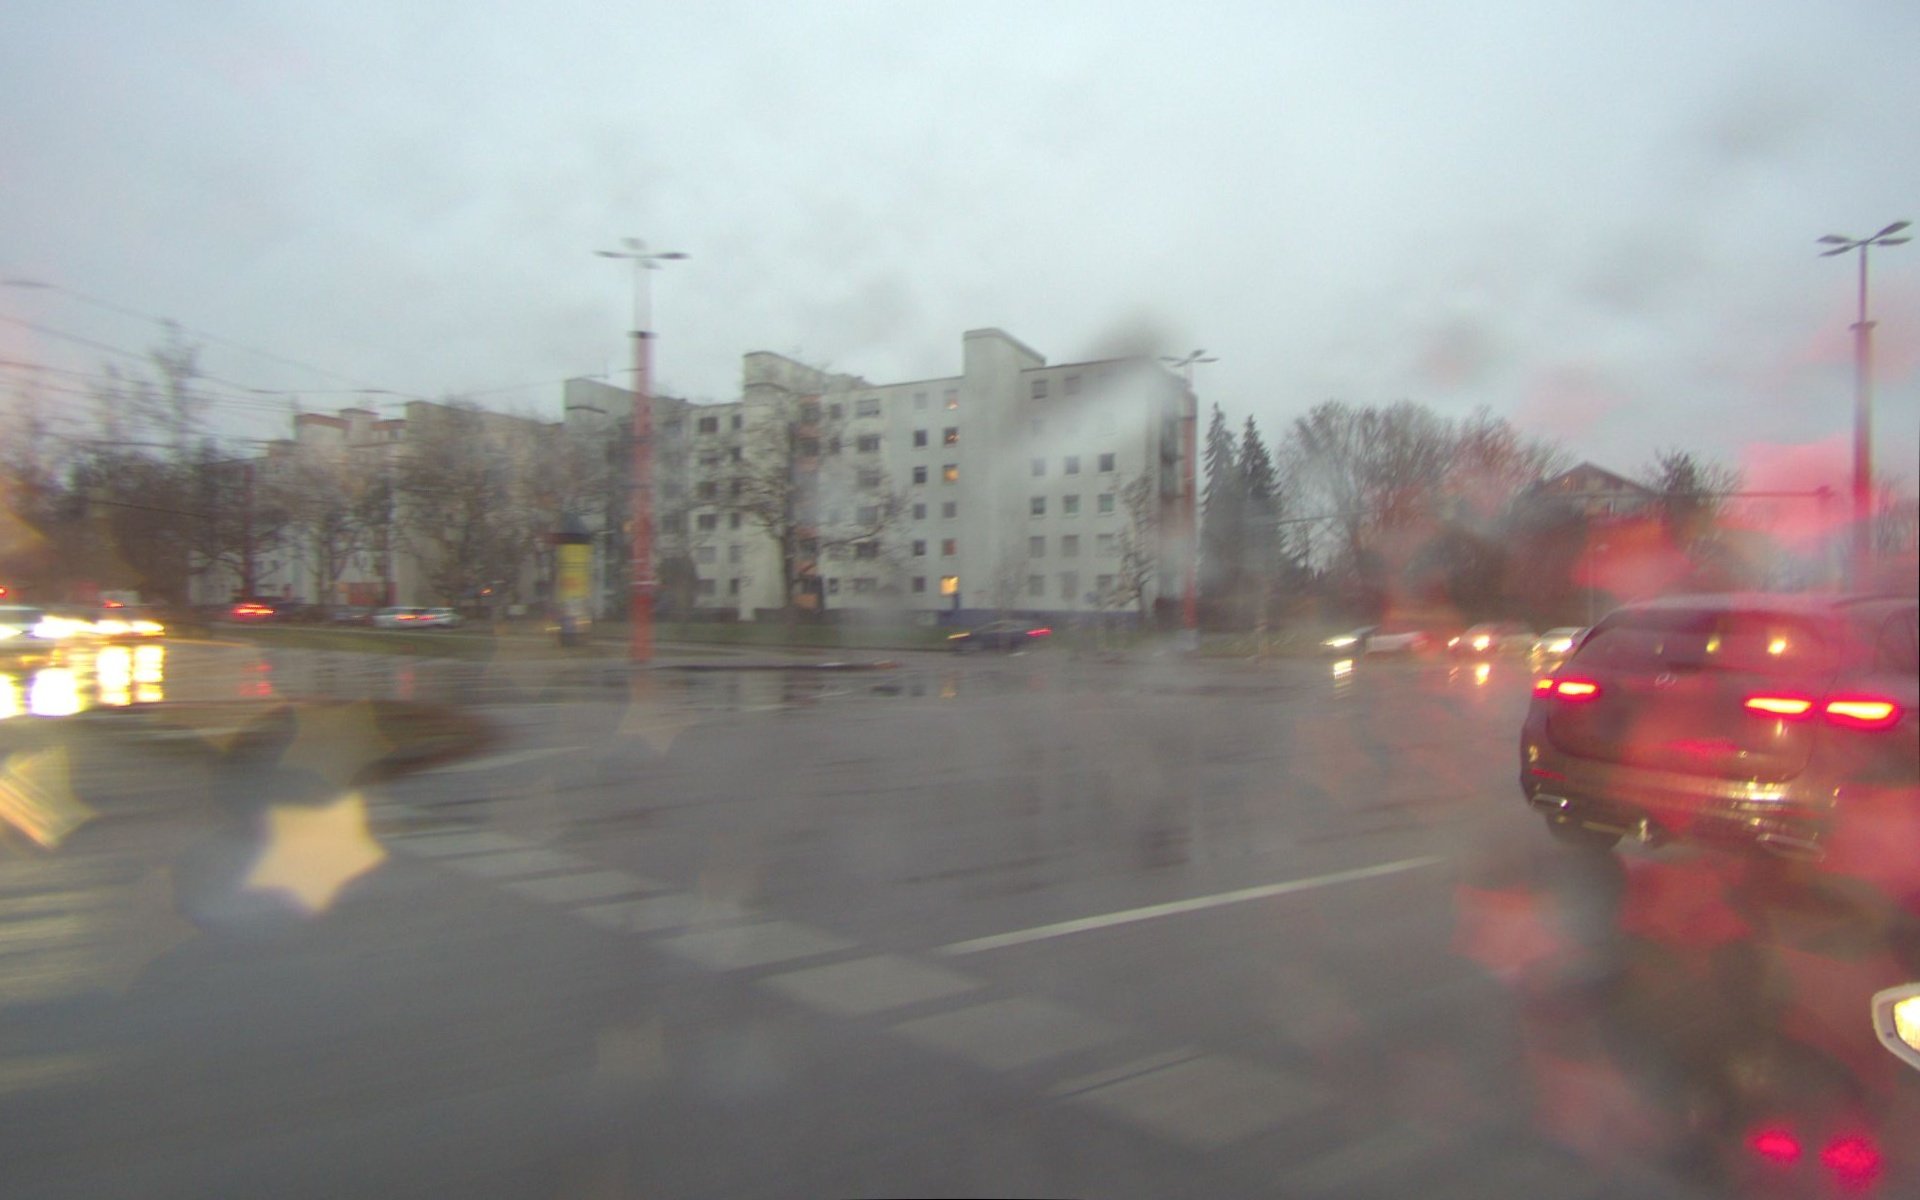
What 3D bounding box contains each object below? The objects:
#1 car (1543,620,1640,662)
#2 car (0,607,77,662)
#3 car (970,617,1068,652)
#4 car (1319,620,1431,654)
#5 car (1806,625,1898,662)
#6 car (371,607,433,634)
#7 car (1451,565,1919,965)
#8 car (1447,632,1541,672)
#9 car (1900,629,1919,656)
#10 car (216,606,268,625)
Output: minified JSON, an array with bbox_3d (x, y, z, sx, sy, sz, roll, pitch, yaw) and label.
[{"bbox_3d":[25.474,1.624,40.495,3.902,1.574,1.761,1,-1,-31],"label":"car"},{"bbox_3d":[-28.628,1.008,30.379,4.366,1.565,1.846,0,-1,34],"label":"car"},{"bbox_3d":[2.771,1.603,46.778,4.393,1.550,2.001,0,-1,8],"label":"car"},{"bbox_3d":[19.612,1.745,47.548,4.515,1.550,1.997,1,-1,-10],"label":"car"},{"bbox_3d":[38.979,1.866,43.875,4.472,1.553,1.761,1,-1,-31],"label":"car"},{"bbox_3d":[-35.404,1.271,63.709,3.926,1.661,1.535,0,-1,27],"label":"car"},{"bbox_3d":[5.181,0.739,6.077,4.412,1.670,1.814,1,-1,-29],"label":"car"},{"bbox_3d":[22.092,2.119,41.556,3.969,1.515,1.611,1,-1,-30],"label":"car"},{"bbox_3d":[55.824,2.421,57.419,4.391,1.557,1.762,1,-1,-29],"label":"car"},{"bbox_3d":[-55.302,1.209,77.348,3.927,1.405,1.774,0,-1,29],"label":"car"}]
